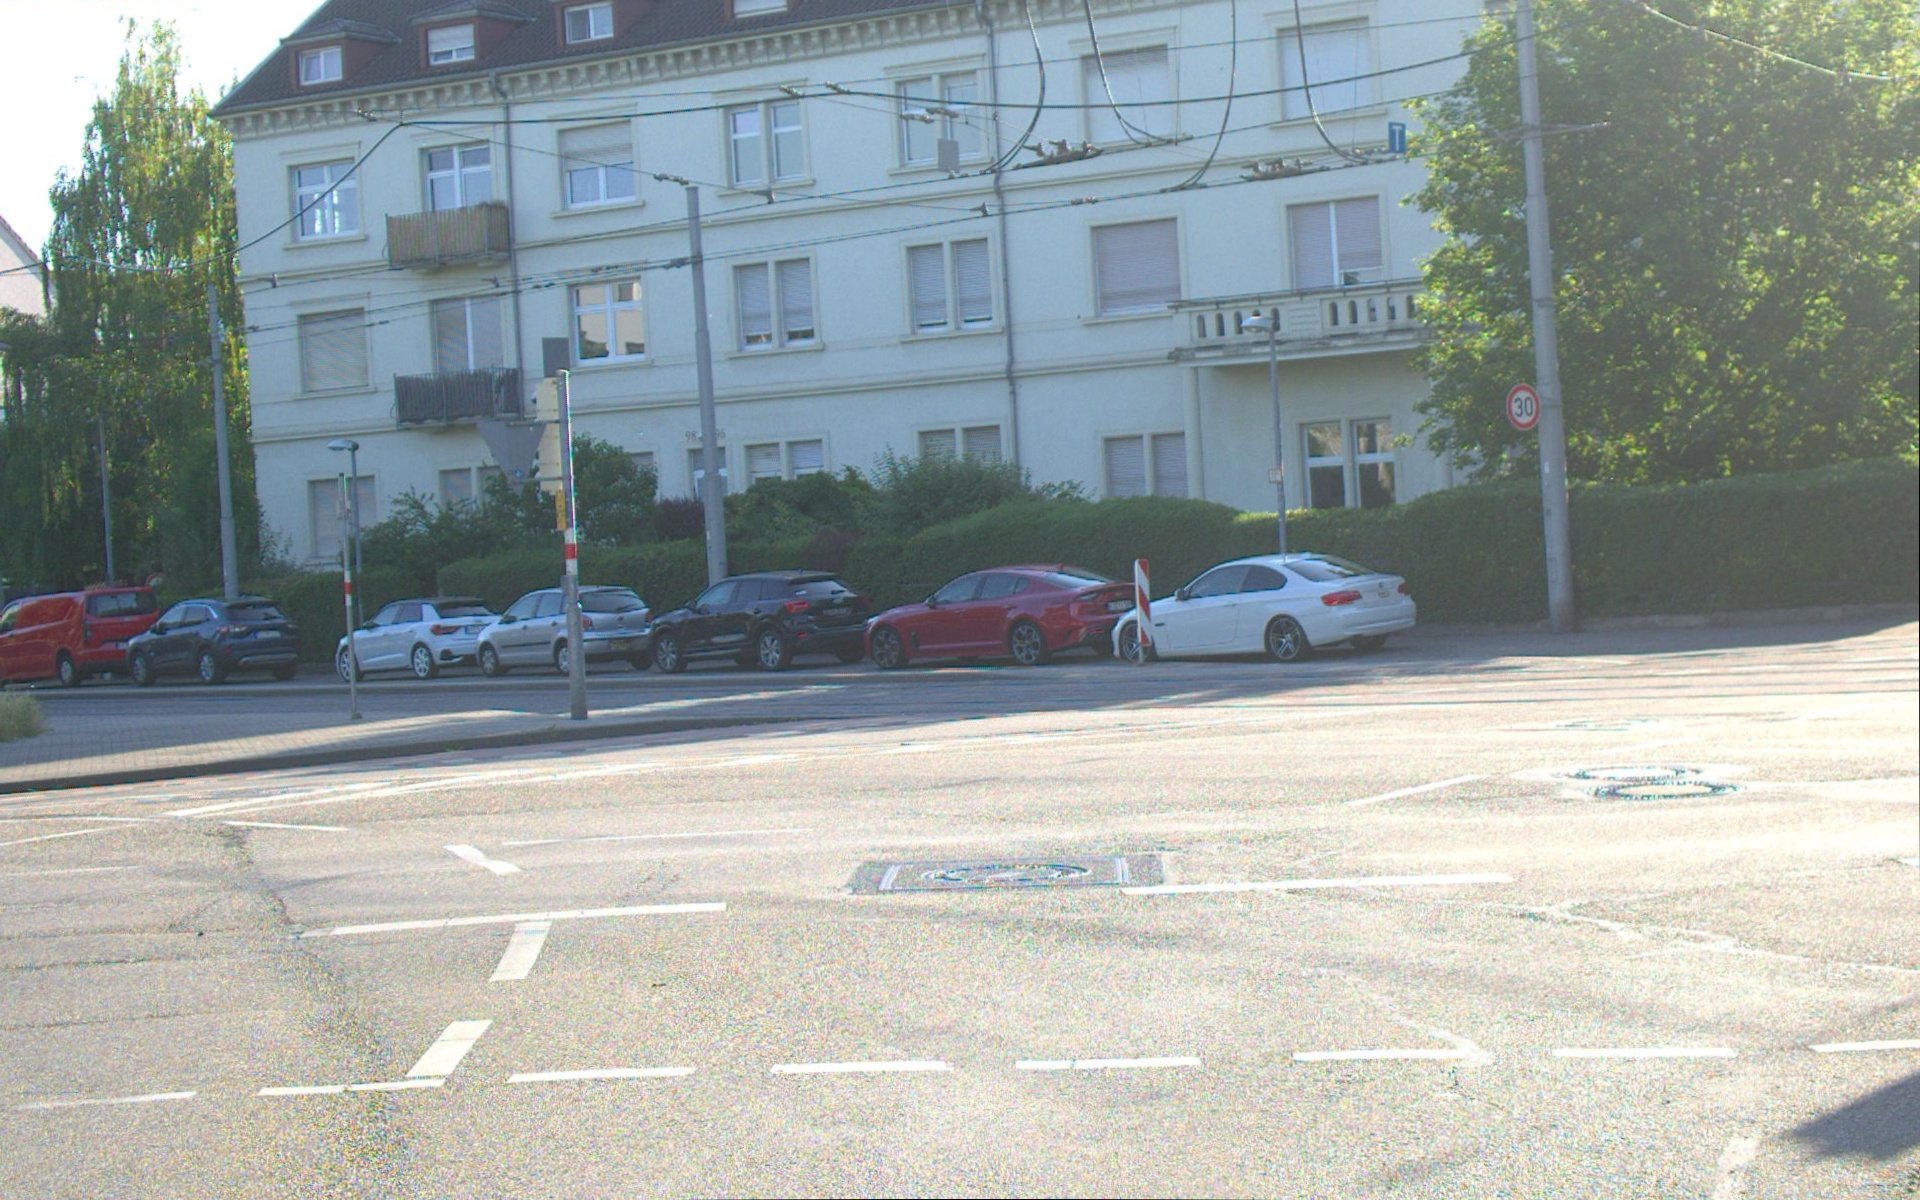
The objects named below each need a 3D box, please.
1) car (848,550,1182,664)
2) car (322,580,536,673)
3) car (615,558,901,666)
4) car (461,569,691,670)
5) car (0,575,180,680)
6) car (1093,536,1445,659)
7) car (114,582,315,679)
[{"bbox_3d":[0.753,0.116,50.124,4.702,1.371,1.982,-2,3,44],"label":"car"},{"bbox_3d":[-9.506,0.485,61.375,1.840,1.442,3.957,-7,3,-41],"label":"car"},{"bbox_3d":[-3.258,0.205,54.634,1.982,1.442,4.703,-7,3,-41],"label":"car"},{"bbox_3d":[-6.493,0.340,57.881,1.982,1.442,3.717,-7,3,-41],"label":"car"},{"bbox_3d":[-18.645,0.604,72.253,2.051,1.955,5.148,-7,3,-41],"label":"car"},{"bbox_3d":[4.093,-0.013,46.128,1.926,1.371,4.494,-7,3,-42],"label":"car"},{"bbox_3d":[-14.609,0.620,67.212,1.840,1.662,4.368,-7,3,-41],"label":"car"}]
